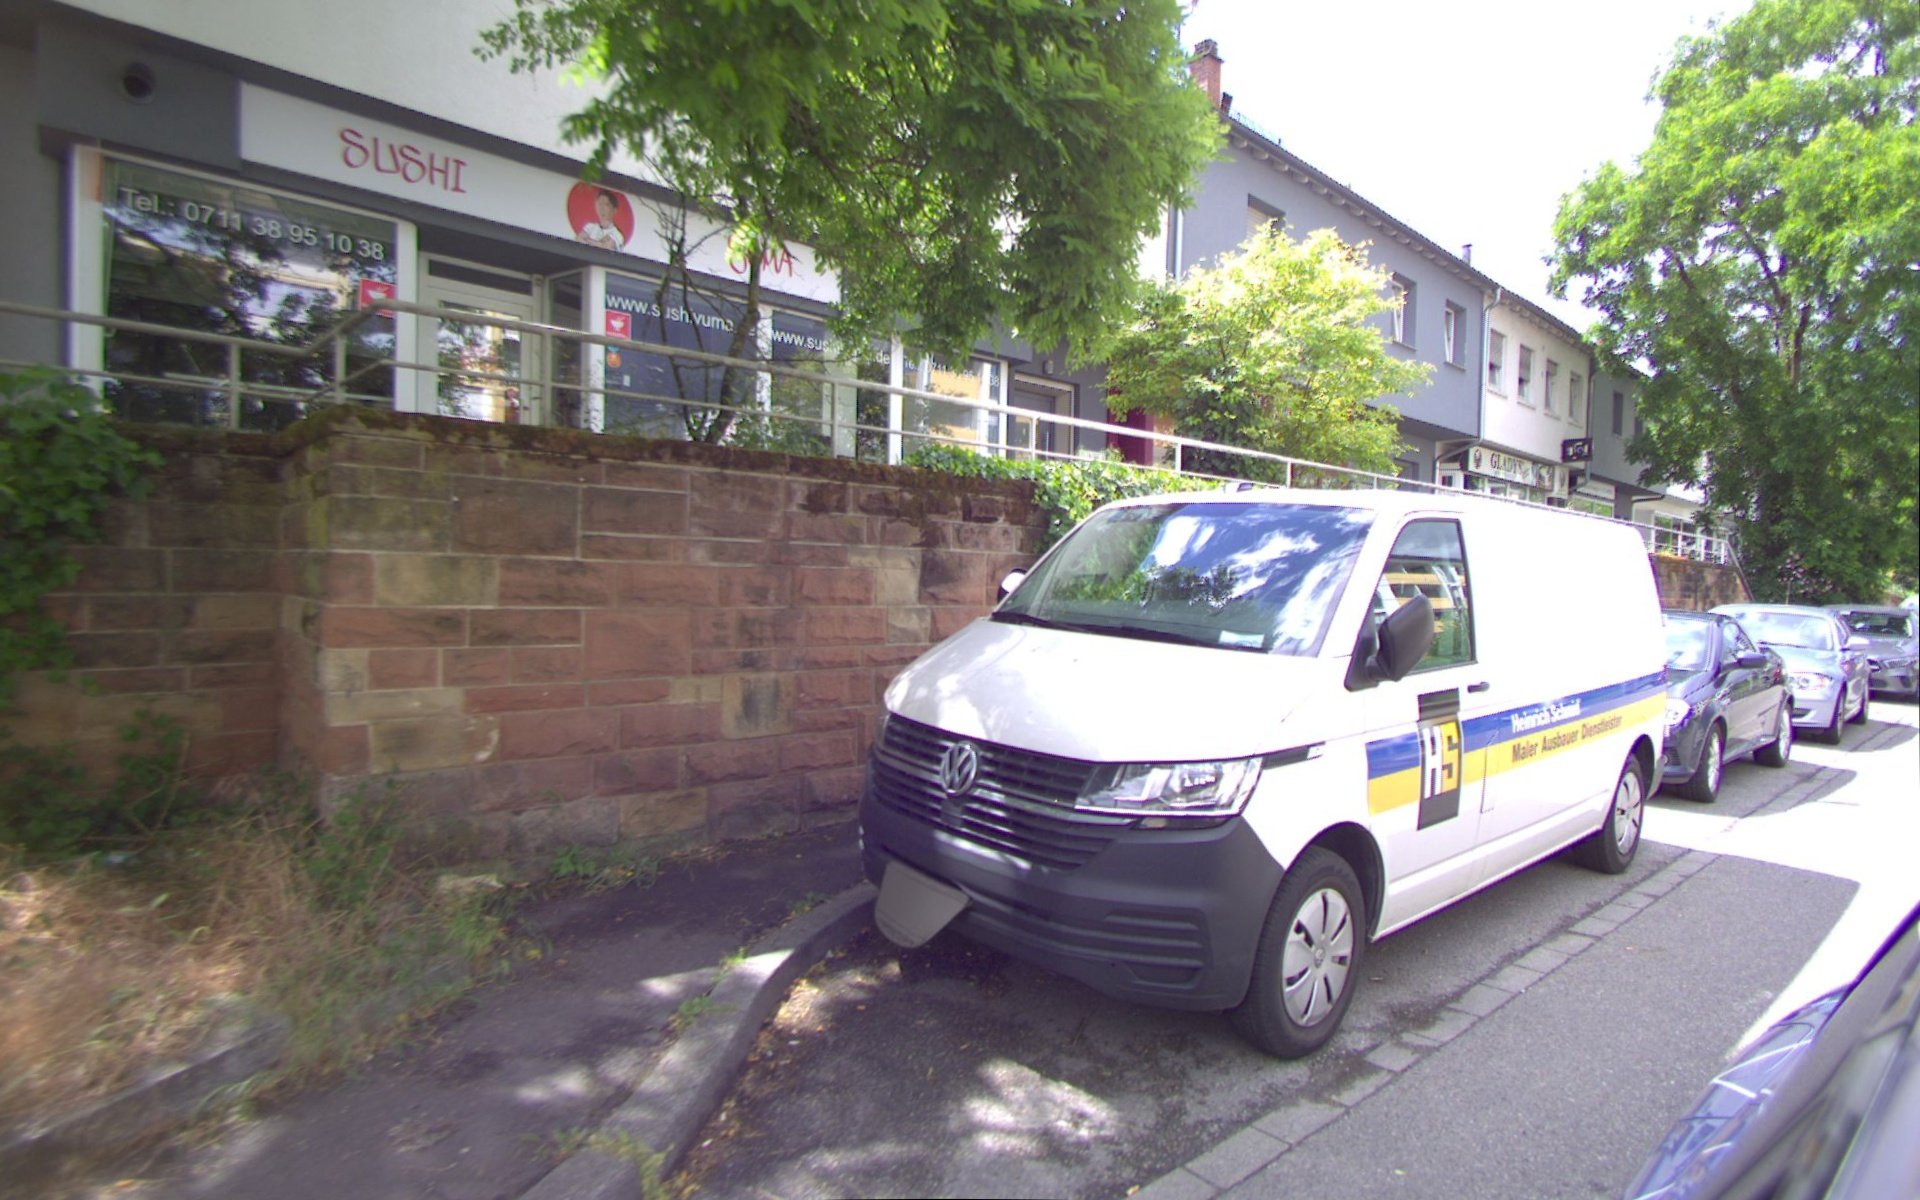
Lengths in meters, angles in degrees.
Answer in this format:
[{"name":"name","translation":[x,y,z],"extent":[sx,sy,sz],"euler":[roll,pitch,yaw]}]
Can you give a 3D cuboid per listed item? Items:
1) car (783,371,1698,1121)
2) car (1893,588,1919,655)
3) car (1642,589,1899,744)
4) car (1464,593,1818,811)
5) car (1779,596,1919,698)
[{"name":"car","translation":[1.779,0.366,5.053],"extent":[4.924,1.994,1.977],"euler":[0,1,-41]},{"name":"car","translation":[26.214,0.562,26.732],"extent":[4.074,1.674,1.818],"euler":[0,2,-40]},{"name":"car","translation":[9.837,0.652,12.174],"extent":[4.075,1.445,1.783],"euler":[0,4,-43]},{"name":"car","translation":[5.928,0.690,8.657],"extent":[3.669,1.446,1.577],"euler":[0,1,-40]},{"name":"car","translation":[15.024,0.678,16.576],"extent":[4.074,1.446,1.784],"euler":[0,1,-40]}]
